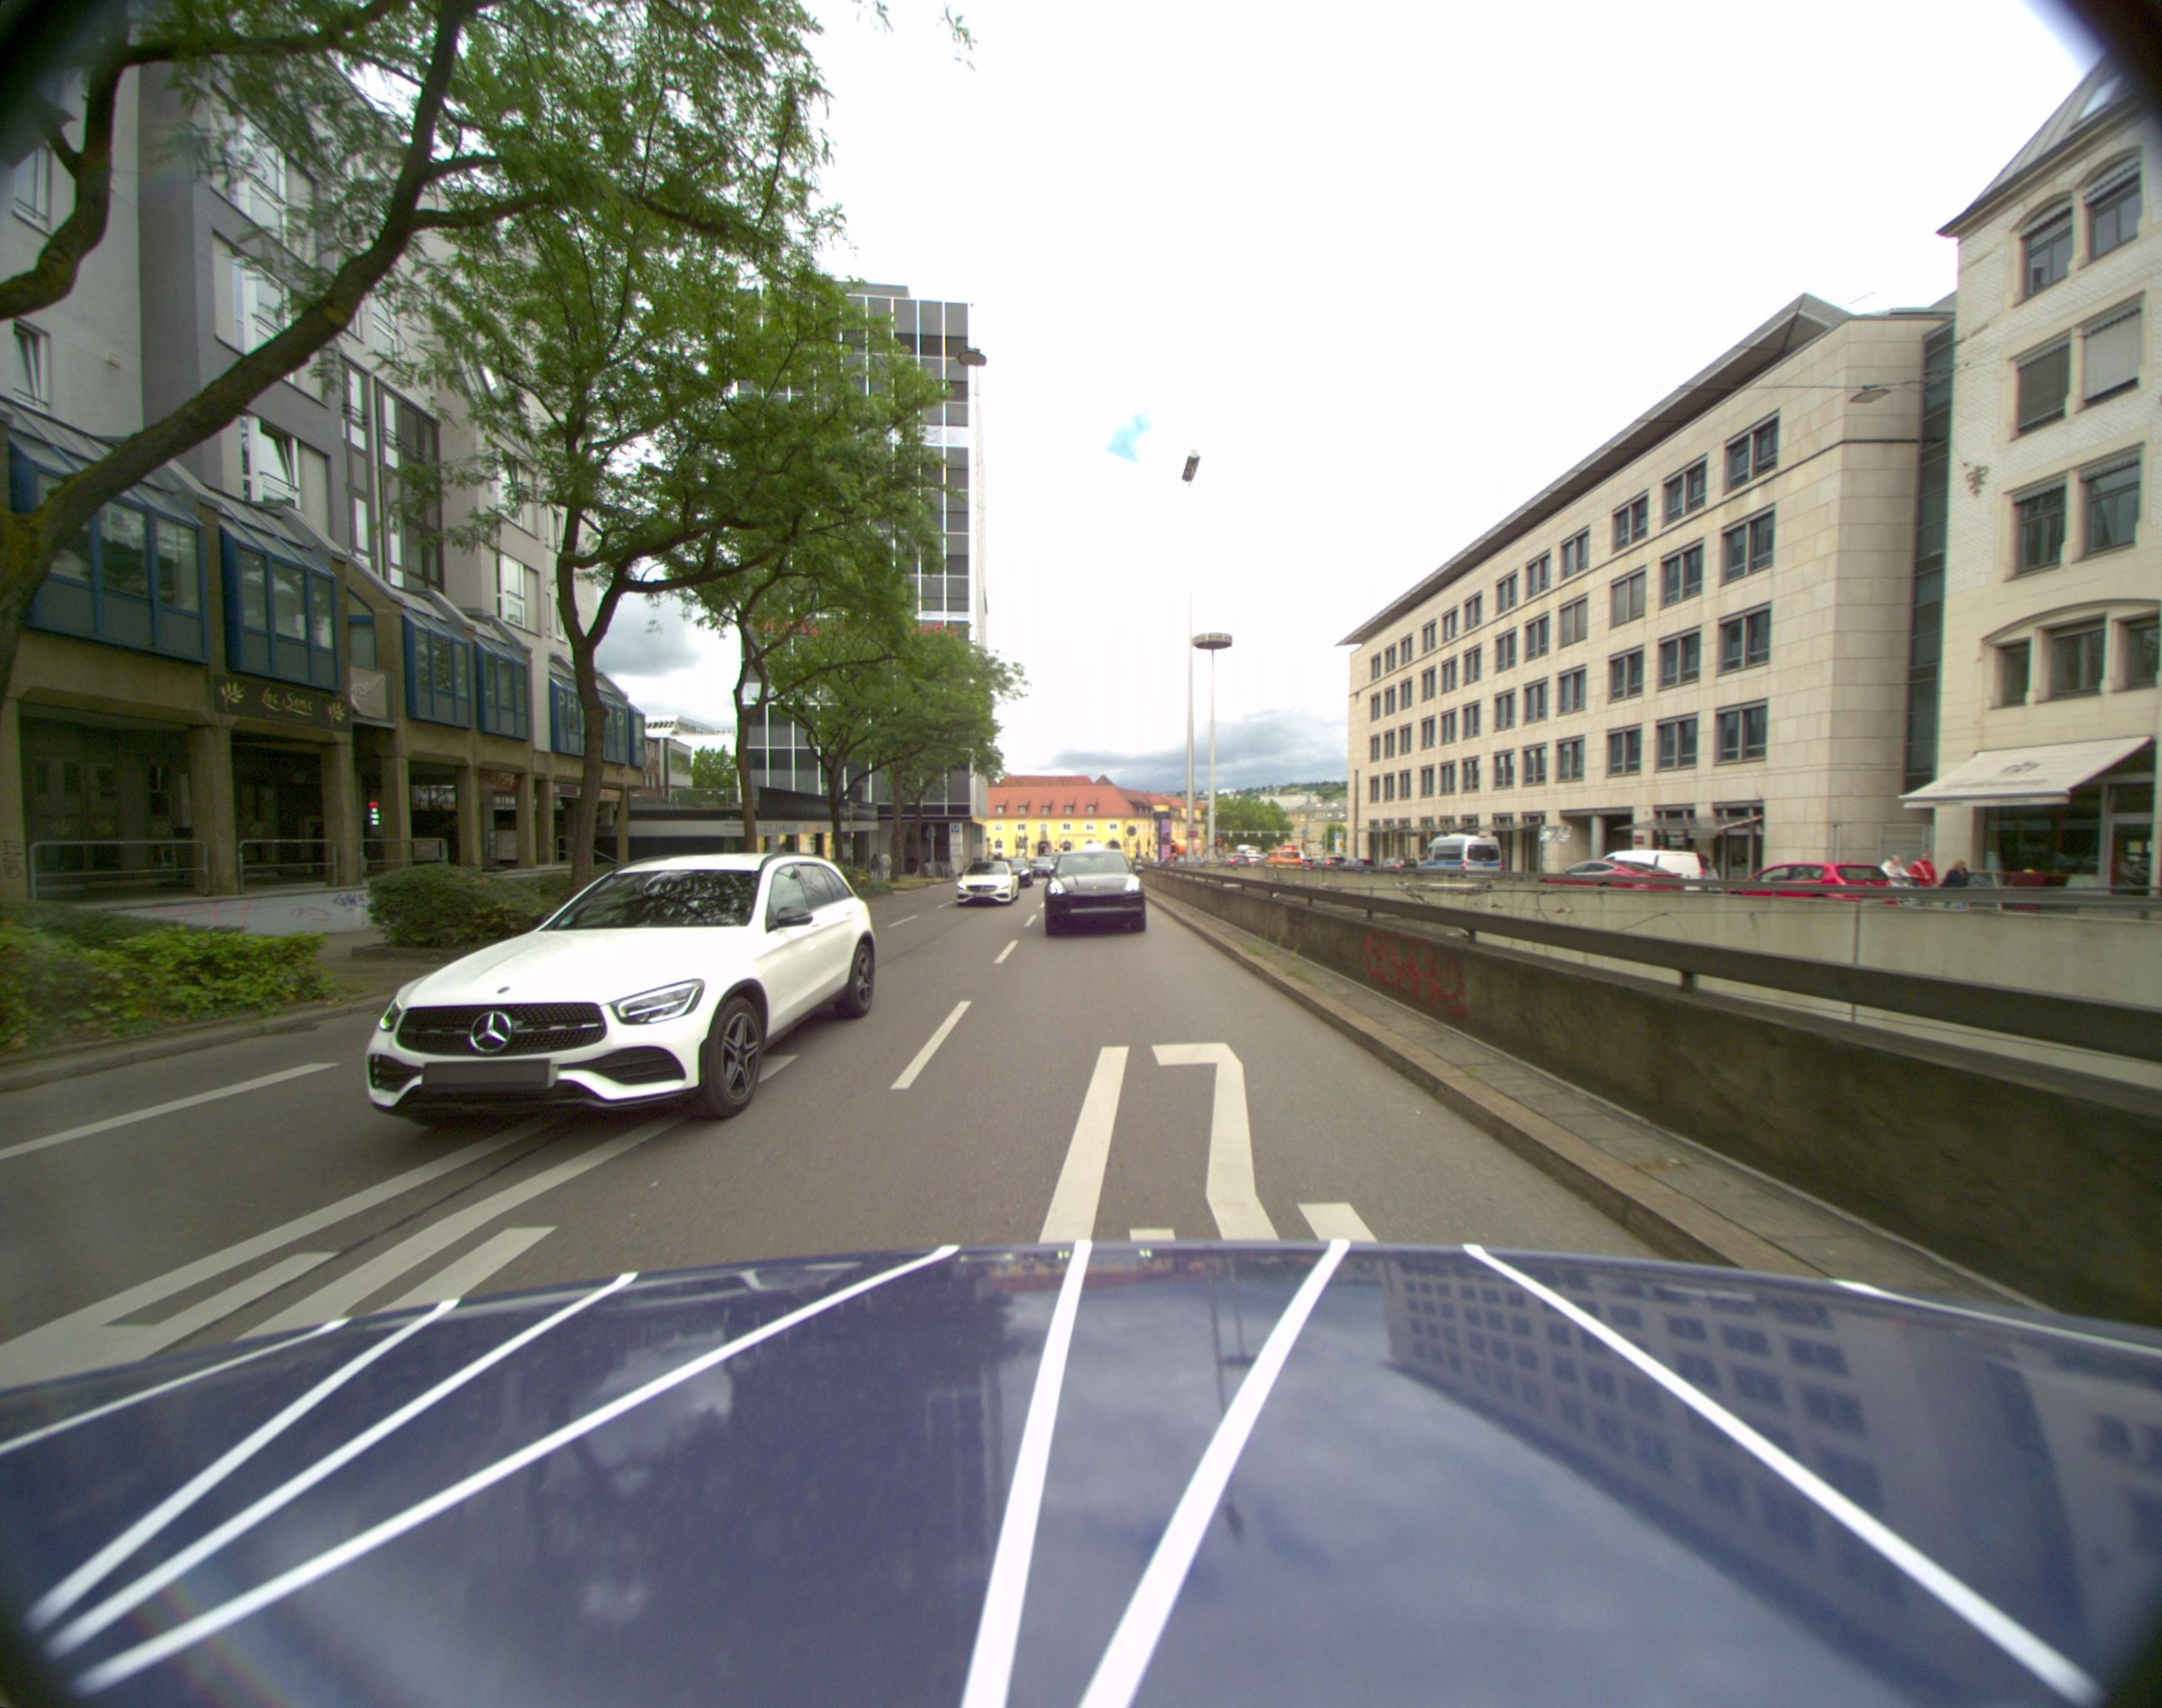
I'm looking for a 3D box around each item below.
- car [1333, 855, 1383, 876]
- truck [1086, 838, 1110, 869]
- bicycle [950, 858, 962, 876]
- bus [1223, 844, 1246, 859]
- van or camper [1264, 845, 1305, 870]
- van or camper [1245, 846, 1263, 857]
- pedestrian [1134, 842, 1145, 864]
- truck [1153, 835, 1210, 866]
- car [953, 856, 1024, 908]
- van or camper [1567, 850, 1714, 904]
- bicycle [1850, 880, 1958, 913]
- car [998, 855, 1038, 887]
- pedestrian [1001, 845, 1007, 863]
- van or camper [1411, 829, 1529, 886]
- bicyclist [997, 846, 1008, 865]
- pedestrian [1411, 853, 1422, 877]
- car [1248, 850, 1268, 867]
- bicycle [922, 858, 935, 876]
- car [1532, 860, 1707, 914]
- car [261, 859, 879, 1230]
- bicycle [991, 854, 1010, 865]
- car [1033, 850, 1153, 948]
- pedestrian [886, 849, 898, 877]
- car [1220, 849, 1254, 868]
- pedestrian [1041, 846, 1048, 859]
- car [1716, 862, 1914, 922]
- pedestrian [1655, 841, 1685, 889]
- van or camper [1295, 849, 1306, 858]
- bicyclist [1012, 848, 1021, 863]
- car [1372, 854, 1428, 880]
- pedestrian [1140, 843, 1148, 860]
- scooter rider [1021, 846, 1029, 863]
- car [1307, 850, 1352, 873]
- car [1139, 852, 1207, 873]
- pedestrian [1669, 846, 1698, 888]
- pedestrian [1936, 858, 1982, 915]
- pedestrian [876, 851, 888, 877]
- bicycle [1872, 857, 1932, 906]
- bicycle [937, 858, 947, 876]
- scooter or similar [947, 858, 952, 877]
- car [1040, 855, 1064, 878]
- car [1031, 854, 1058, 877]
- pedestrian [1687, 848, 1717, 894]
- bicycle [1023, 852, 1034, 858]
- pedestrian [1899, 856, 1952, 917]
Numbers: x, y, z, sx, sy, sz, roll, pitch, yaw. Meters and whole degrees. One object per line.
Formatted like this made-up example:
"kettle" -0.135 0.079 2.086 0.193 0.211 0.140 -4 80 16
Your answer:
"car" 19.696 0.785 54.183 1.998 1.387 4.573 0 1 1
"truck" 1.633 -0.047 71.014 1.954 2.768 5.790 1 1 3
"bicycle" -8.183 0.861 49.876 0.491 1.126 1.843 0 1 0
"bus" 36.058 -0.583 177.919 3.428 3.185 13.082 0 0 20
"van or camper" 16.279 0.258 61.085 1.918 1.910 5.083 2 1 0
"van or camper" 37.086 -0.595 162.563 2.369 2.249 6.298 2 1 24
"pedestrian" 5.808 -0.104 75.802 0.879 2.160 0.761 0 1 -18
"truck" 13.494 -0.526 101.298 2.720 3.597 9.194 2 5 41
"car" -3.049 0.878 26.007 1.870 1.560 4.651 -1 1 0
"van or camper" 19.658 0.747 27.001 1.872 1.741 4.486 0 0 -1
"bicycle" 21.425 1.085 19.835 0.634 0.757 1.958 0 0 -3
"car" -3.210 0.846 39.289 1.707 1.524 3.763 0 0 0
"pedestrian" -7.393 -0.011 72.552 0.526 1.702 0.752 1 3 -5
"van or camper" 20.119 0.165 39.792 3.009 2.710 6.245 1 1 0
"bicyclist" -7.907 0.136 76.436 0.812 1.835 0.676 2 2 26
"pedestrian" 23.062 0.755 52.233 0.501 1.615 0.627 0 1 0
"car" 17.292 0.387 74.105 1.736 1.589 4.324 1 1 16
"bicycle" -10.050 0.856 50.145 0.490 1.126 1.688 0 1 1
"car" 16.545 0.950 23.750 1.998 1.456 4.885 0 0 0
"car" -3.026 0.937 5.837 1.806 1.637 4.332 -2 1 -1
"bicycle" -8.111 0.574 76.520 1.763 1.001 0.682 2 -1 25
"car" 0.307 0.787 15.477 2.004 1.628 5.022 -2 -1 2
"pedestrian" -11.870 0.557 47.771 0.597 1.744 0.940 1 1 -5
"car" 12.995 0.385 63.482 1.923 1.518 4.541 0 0 0
"pedestrian" -4.830 -0.185 99.354 0.802 1.688 0.547 0 1 -18
"car" 19.489 0.952 20.410 1.792 1.397 3.582 0 0 -1
"pedestrian" 23.492 0.441 30.304 0.618 1.864 0.680 0 1 -1
"van or camper" 46.544 -0.169 161.012 1.861 1.905 4.721 1 1 22
"bicyclist" -6.666 0.151 78.253 0.566 1.541 0.844 0 2 -28
"car" 19.869 0.759 47.547 1.773 1.440 4.030 2 1 0
"pedestrian" 6.625 -0.282 79.899 0.717 1.780 0.634 4 0 0
"scooter rider" -5.829 0.043 79.201 0.594 1.798 0.641 0 2 -41
"car" 19.642 0.561 60.318 1.998 1.636 4.682 2 1 0
"car" 6.417 0.578 52.825 4.559 1.450 1.882 0 1 8
"pedestrian" 22.682 0.482 28.630 0.553 1.567 0.680 -1 1 -1
"pedestrian" 22.955 0.832 19.877 0.550 1.466 0.541 0 1 1
"pedestrian" -12.514 0.619 47.764 0.597 1.619 0.757 1 1 -5
"bicycle" 21.442 0.707 19.859 0.634 1.253 0.844 0 1 -3
"bicycle" -9.159 0.864 49.966 0.491 1.126 1.886 0 1 -6
"scooter or similar" -8.706 0.899 50.302 0.307 1.244 0.995 0 1 -13
"car" -2.520 1.083 66.783 1.859 1.976 4.643 0 -1 1
"car" -2.573 0.806 54.109 1.707 1.524 3.763 0 0 0
"pedestrian" 23.508 0.642 28.787 0.553 1.743 0.680 0 1 -1
"bicycle" -9.536 0.215 138.144 1.769 1.079 0.621 0 1 10
"pedestrian" 22.125 0.840 19.927 0.584 1.572 0.713 0 1 1
